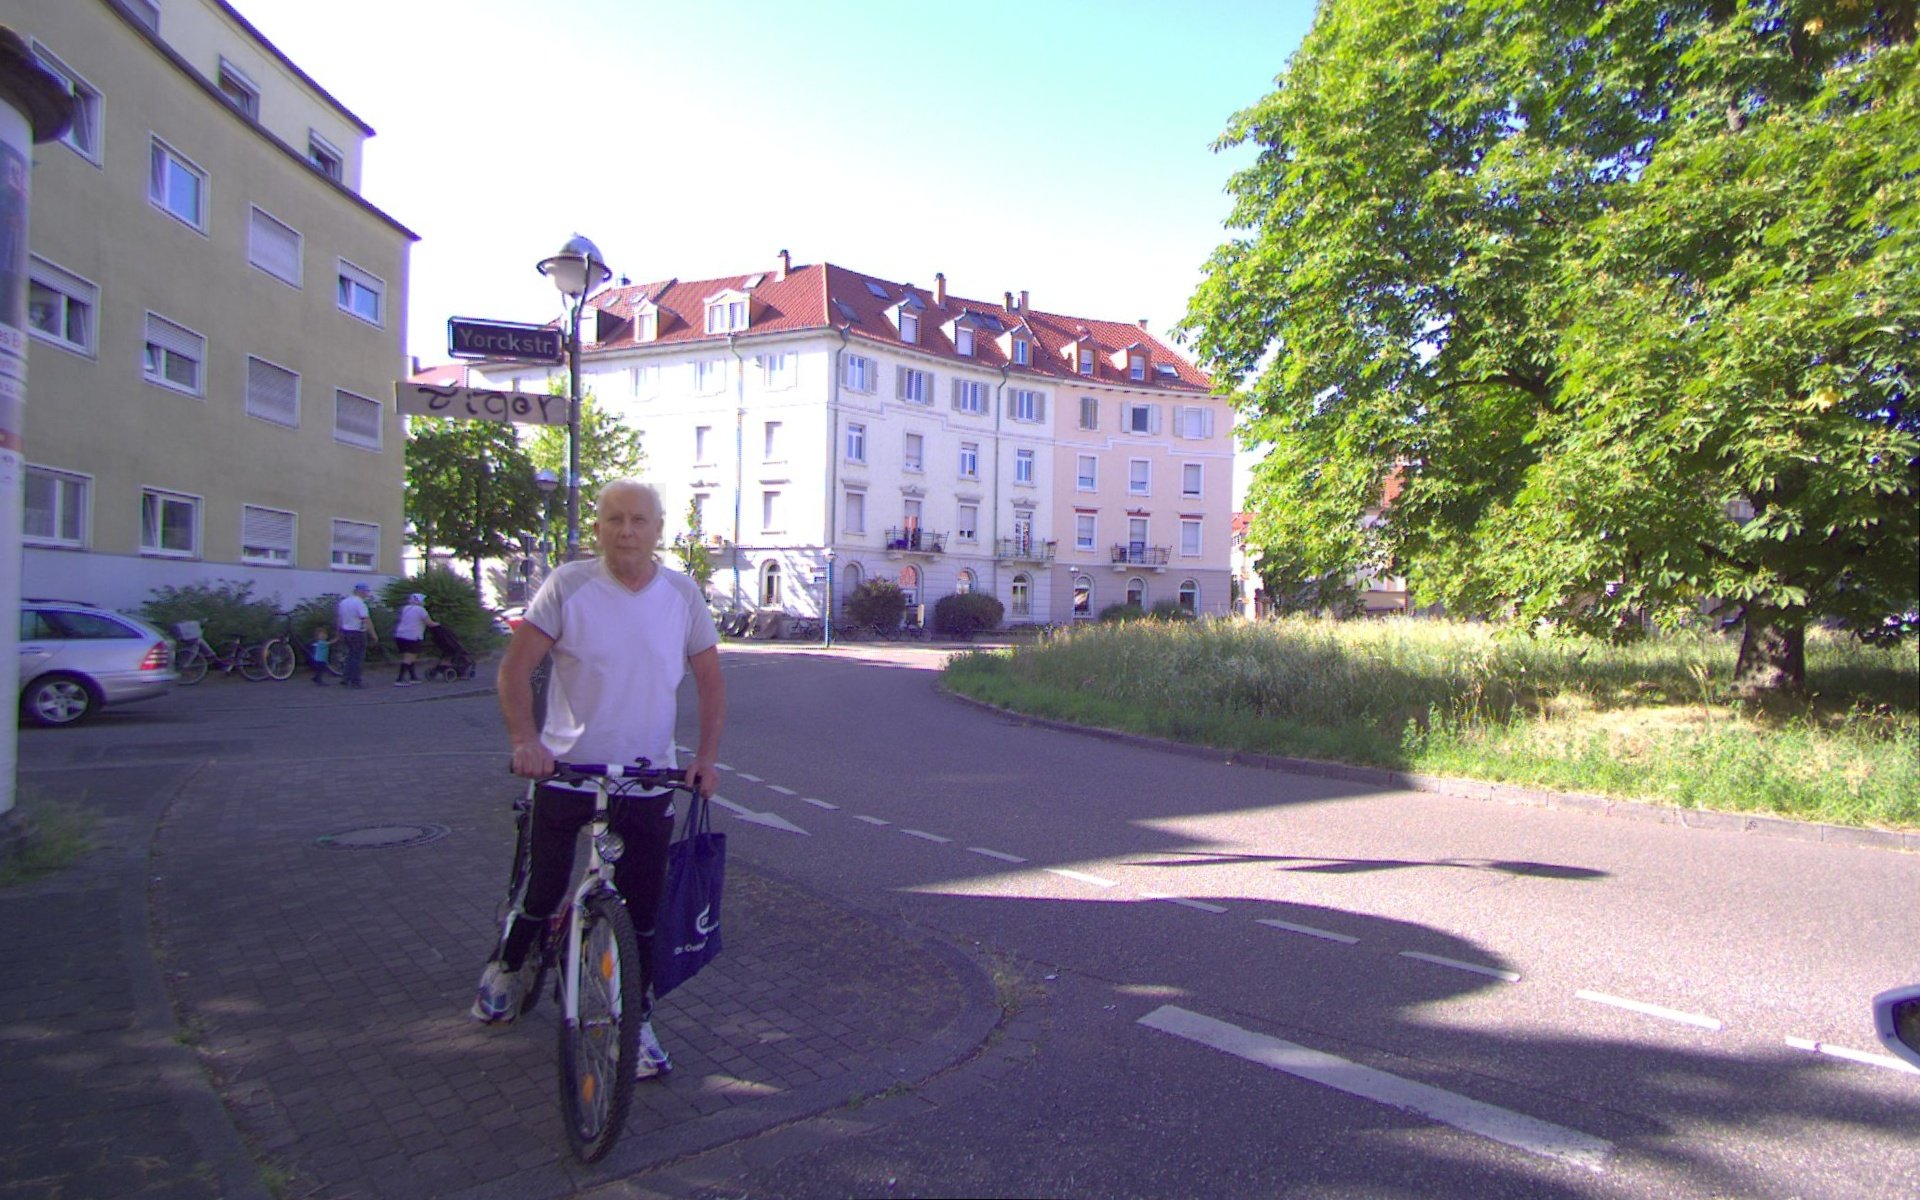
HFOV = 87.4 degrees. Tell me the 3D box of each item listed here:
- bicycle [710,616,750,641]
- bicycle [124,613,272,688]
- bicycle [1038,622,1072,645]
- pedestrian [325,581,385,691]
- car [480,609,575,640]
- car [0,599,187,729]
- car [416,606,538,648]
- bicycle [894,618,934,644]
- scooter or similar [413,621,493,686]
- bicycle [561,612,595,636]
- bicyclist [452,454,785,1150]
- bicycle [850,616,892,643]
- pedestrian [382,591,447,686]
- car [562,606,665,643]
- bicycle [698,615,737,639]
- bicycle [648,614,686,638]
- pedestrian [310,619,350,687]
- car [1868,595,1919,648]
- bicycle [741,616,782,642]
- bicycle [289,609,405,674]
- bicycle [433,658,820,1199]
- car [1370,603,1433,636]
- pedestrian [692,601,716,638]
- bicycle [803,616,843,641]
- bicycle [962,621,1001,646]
[{"bbox_3d":[-10.801,1.318,47.143,1.764,1.139,0.571,1,-1,20],"label":"bicycle"},{"bbox_3d":[-12.036,0.782,15.913,0.493,1.122,1.791,1,-1,41],"label":"bicycle"},{"bbox_3d":[4.790,1.692,50.654,1.663,1.103,0.499,1,1,-25],"label":"bicycle"},{"bbox_3d":[-9.817,0.568,16.294,0.545,1.716,0.607,5,2,32],"label":"pedestrian"},{"bbox_3d":[-18.968,1.049,44.070,3.646,1.272,1.800,1,-1,22],"label":"car"},{"bbox_3d":[-11.550,0.690,11.332,4.450,1.430,1.714,2,-1,-38],"label":"car"},{"bbox_3d":[-17.786,0.976,36.990,3.921,1.430,1.804,1,0,20],"label":"car"},{"bbox_3d":[-2.170,1.456,46.994,1.780,1.139,0.566,4,-1,-32],"label":"bicycle"},{"bbox_3d":[-9.026,0.933,17.893,0.902,1.037,0.897,5,2,33],"label":"scooter or similar"},{"bbox_3d":[-19.749,1.240,51.939,1.767,1.157,0.570,1,-1,28],"label":"bicycle"},{"bbox_3d":[-1.052,0.506,3.028,0.756,1.718,0.805,2,0,-32],"label":"bicyclist"},{"bbox_3d":[-4.084,1.367,46.122,1.772,1.139,0.568,3,-1,-19],"label":"bicycle"},{"bbox_3d":[-9.294,0.645,17.118,0.639,1.544,0.695,5,2,32],"label":"pedestrian"},{"bbox_3d":[-14.714,1.025,42.642,3.923,1.431,1.799,1,-1,23],"label":"car"},{"bbox_3d":[-11.680,1.295,48.384,1.764,1.139,0.571,1,-1,20],"label":"bicycle"},{"bbox_3d":[-14.505,1.280,49.690,1.764,1.139,0.571,1,-1,20],"label":"bicycle"},{"bbox_3d":[-10.317,0.860,16.448,0.370,1.053,0.405,5,2,32],"label":"pedestrian"},{"bbox_3d":[49.318,1.125,50.292,2.061,2.635,6.378,2,0,2],"label":"car"},{"bbox_3d":[-9.118,1.340,46.118,1.764,1.139,0.571,1,-1,20],"label":"bicycle"},{"bbox_3d":[-11.056,0.735,18.183,0.491,1.122,1.798,1,-1,27],"label":"bicycle"},{"bbox_3d":[-1.180,0.840,3.214,0.756,1.214,1.854,2,-1,-31],"label":"bicycle"},{"bbox_3d":[27.988,1.235,63.847,2.099,1.934,4.562,1,-1,1],"label":"car"},{"bbox_3d":[-11.858,0.919,46.544,0.731,1.683,0.774,1,-1,20],"label":"pedestrian"},{"bbox_3d":[-6.268,1.305,45.959,1.770,1.122,0.498,1,-1,-16],"label":"bicycle"},{"bbox_3d":[1.050,1.617,49.046,1.772,1.139,0.568,3,-1,-19],"label":"bicycle"}]
